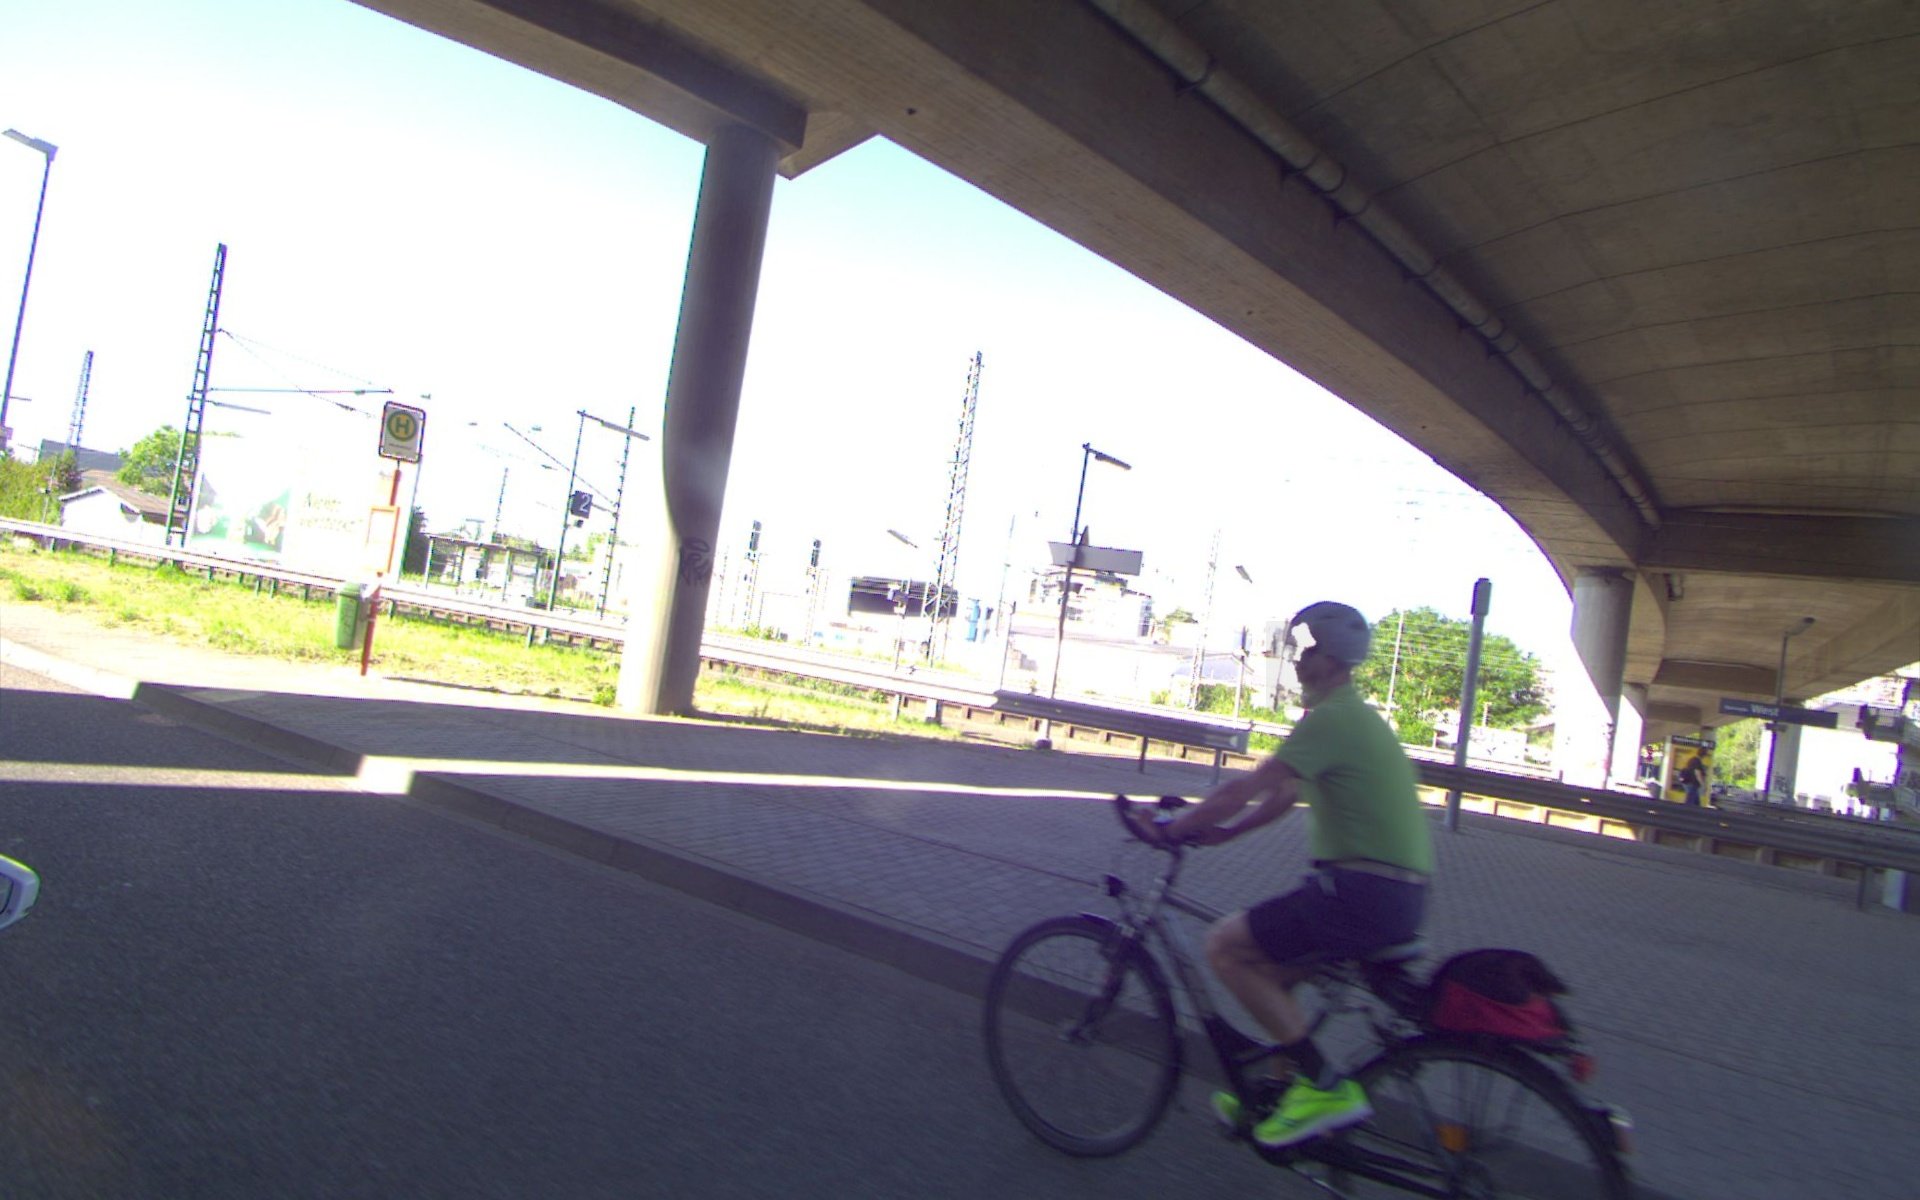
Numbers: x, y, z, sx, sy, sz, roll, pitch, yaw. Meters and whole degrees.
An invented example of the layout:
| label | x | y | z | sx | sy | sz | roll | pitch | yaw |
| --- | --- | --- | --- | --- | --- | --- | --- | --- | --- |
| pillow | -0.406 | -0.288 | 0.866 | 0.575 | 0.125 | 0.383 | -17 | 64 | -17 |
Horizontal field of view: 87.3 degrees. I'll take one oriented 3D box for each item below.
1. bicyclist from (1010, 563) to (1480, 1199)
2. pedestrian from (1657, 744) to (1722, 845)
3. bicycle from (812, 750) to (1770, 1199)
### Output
| label | x | y | z | sx | sy | sz | roll | pitch | yaw |
| --- | --- | --- | --- | --- | --- | --- | --- | --- | --- |
| bicyclist | 0.835 | 0.746 | 2.824 | 0.908 | 1.505 | 0.843 | 7 | -2 | 30 |
| pedestrian | 16.151 | 4.277 | 22.300 | 0.821 | 2.036 | 0.896 | 7 | -2 | 27 |
| bicycle | 0.760 | 1.153 | 2.827 | 2.153 | 1.063 | 0.843 | 7 | -2 | 30 |
